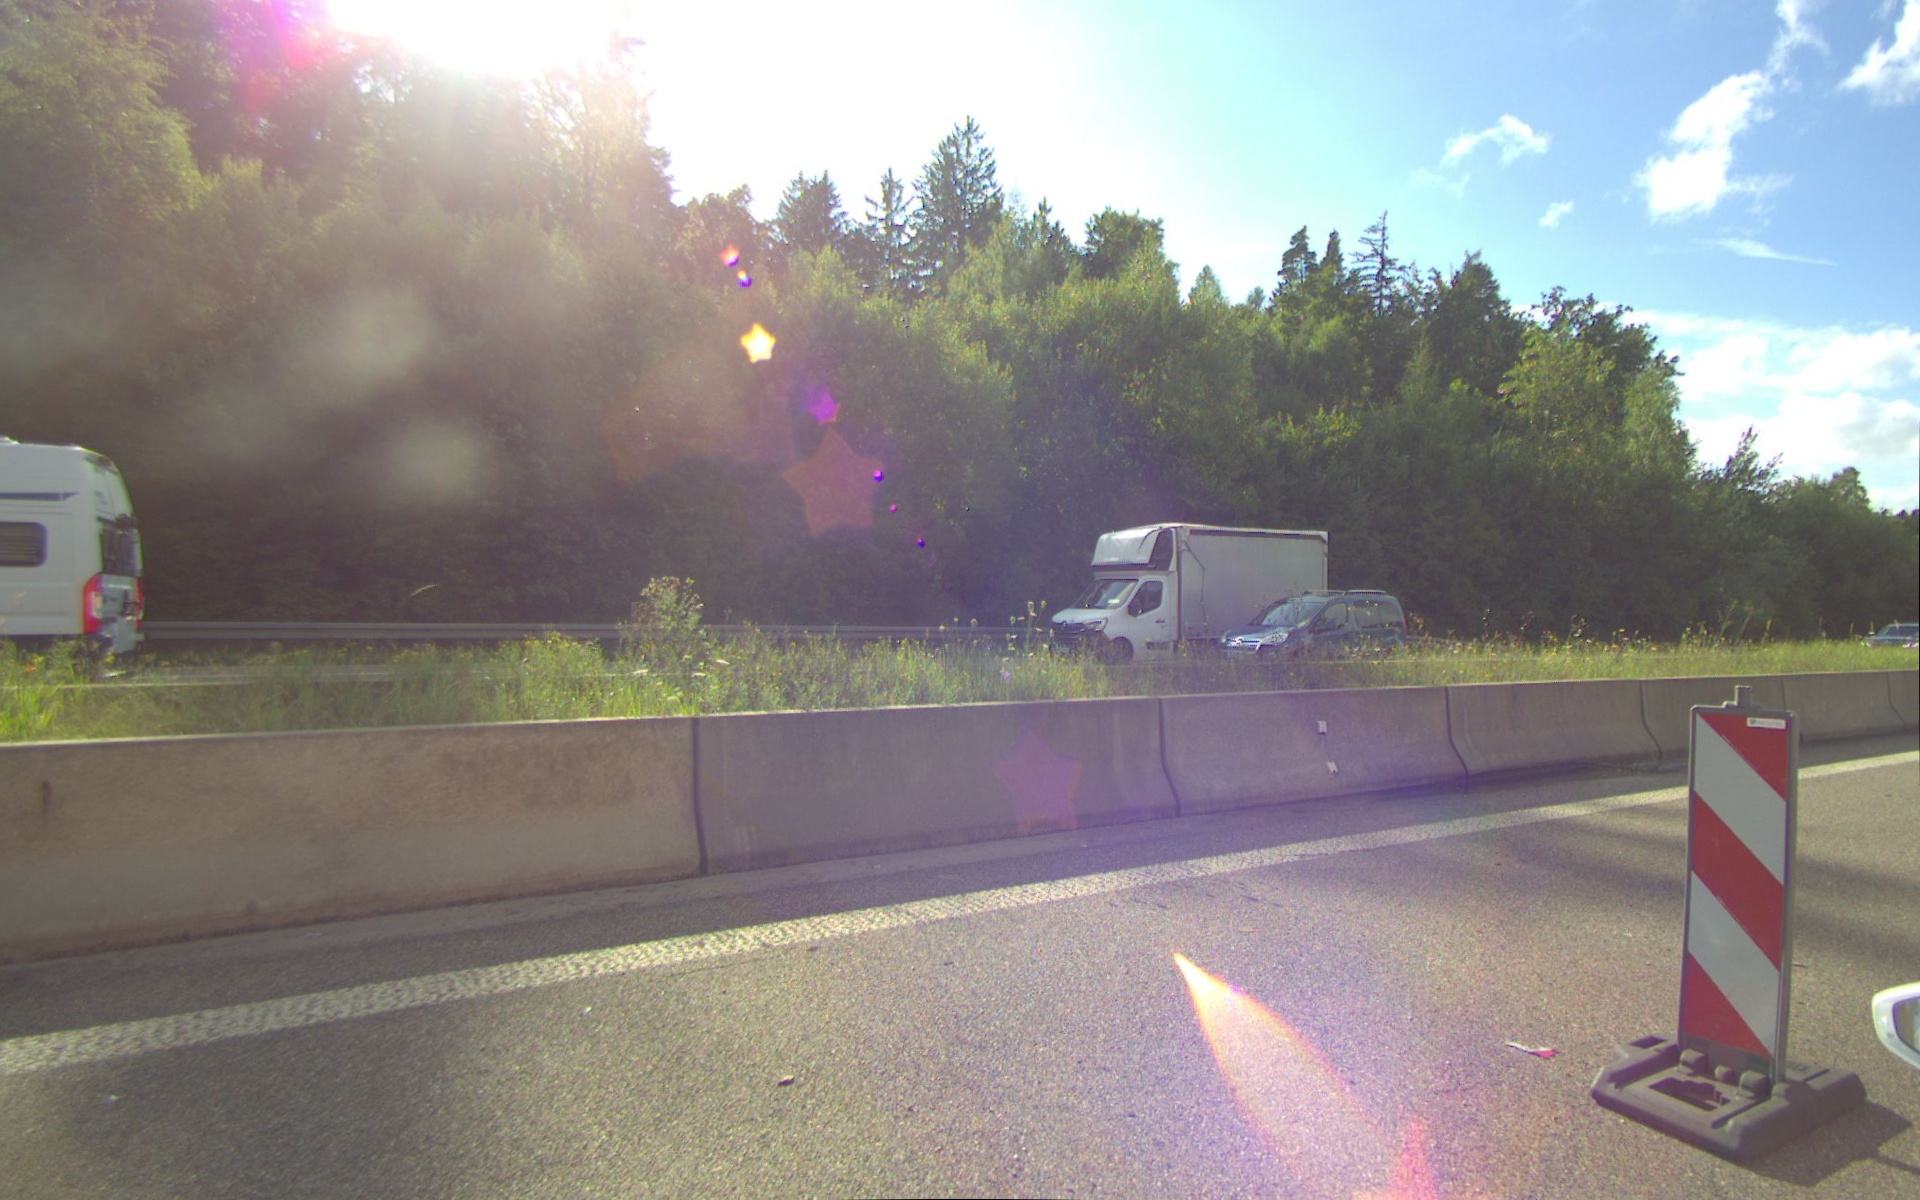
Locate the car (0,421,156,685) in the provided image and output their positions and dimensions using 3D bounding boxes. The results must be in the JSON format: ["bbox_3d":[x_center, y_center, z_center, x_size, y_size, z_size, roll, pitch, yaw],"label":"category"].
[{"bbox_3d":[-11.566,-0.444,9.196,6.256,2.484,2.150,0,1,-30],"label":"car"}]

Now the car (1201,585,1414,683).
[{"bbox_3d":[7.134,0.647,20.572,4.070,1.837,1.935,1,1,-30],"label":"car"}]

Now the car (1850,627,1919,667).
[{"bbox_3d":[36.613,1.811,39.055,4.260,1.406,1.771,2,0,-30],"label":"car"}]

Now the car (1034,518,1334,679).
[{"bbox_3d":[5.535,0.057,24.268,7.366,3.415,2.474,2,0,-31],"label":"car"}]

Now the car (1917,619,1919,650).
[{"bbox_3d":[64.757,2.314,65.787,3.953,2.040,1.984,2,0,-30],"label":"car"}]
